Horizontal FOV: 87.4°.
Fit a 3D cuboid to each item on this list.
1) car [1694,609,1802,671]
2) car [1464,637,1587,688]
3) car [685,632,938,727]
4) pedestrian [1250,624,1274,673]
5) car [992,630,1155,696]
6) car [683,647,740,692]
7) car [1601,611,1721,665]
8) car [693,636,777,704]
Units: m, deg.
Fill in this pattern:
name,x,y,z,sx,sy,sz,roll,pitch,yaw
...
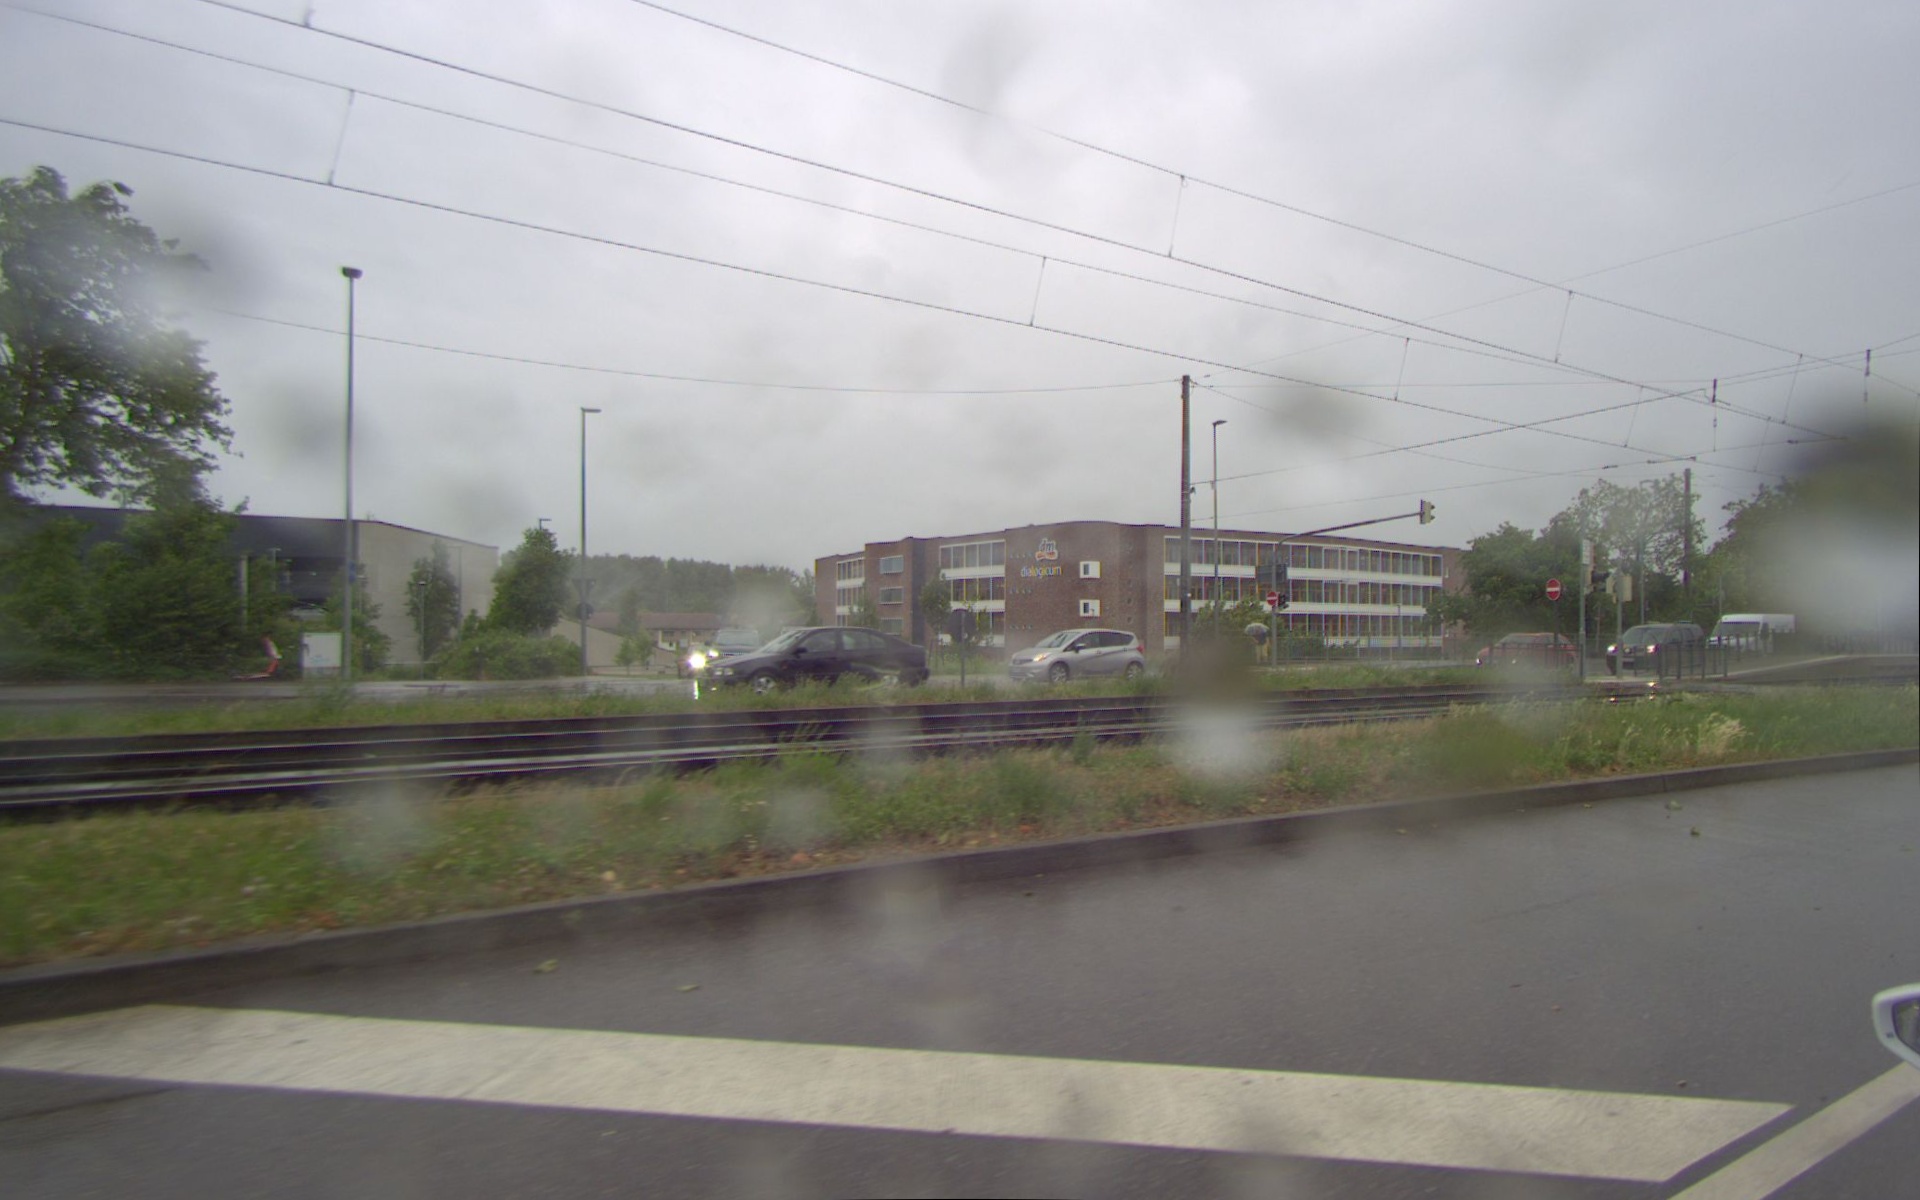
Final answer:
name,x,y,z,sx,sy,sz,roll,pitch,yaw
car,37.056,1.843,47.216,5.672,2.748,2.109,1,-1,-31
car,21.103,2.279,37.429,4.571,1.729,1.984,1,-1,-31
car,-2.782,1.461,18.997,4.329,1.616,1.985,1,-5,-30
pedestrian,12.781,2.058,42.473,0.688,2.040,0.695,1,-1,-30
car,3.104,1.658,27.360,4.046,1.617,1.984,1,0,-30
car,-9.500,2.605,38.382,1.966,1.461,4.362,1,-1,-14
car,25.078,1.348,35.903,4.208,1.795,1.984,1,-1,-31
car,-7.194,2.152,31.842,1.971,1.884,3.980,1,-1,-22
